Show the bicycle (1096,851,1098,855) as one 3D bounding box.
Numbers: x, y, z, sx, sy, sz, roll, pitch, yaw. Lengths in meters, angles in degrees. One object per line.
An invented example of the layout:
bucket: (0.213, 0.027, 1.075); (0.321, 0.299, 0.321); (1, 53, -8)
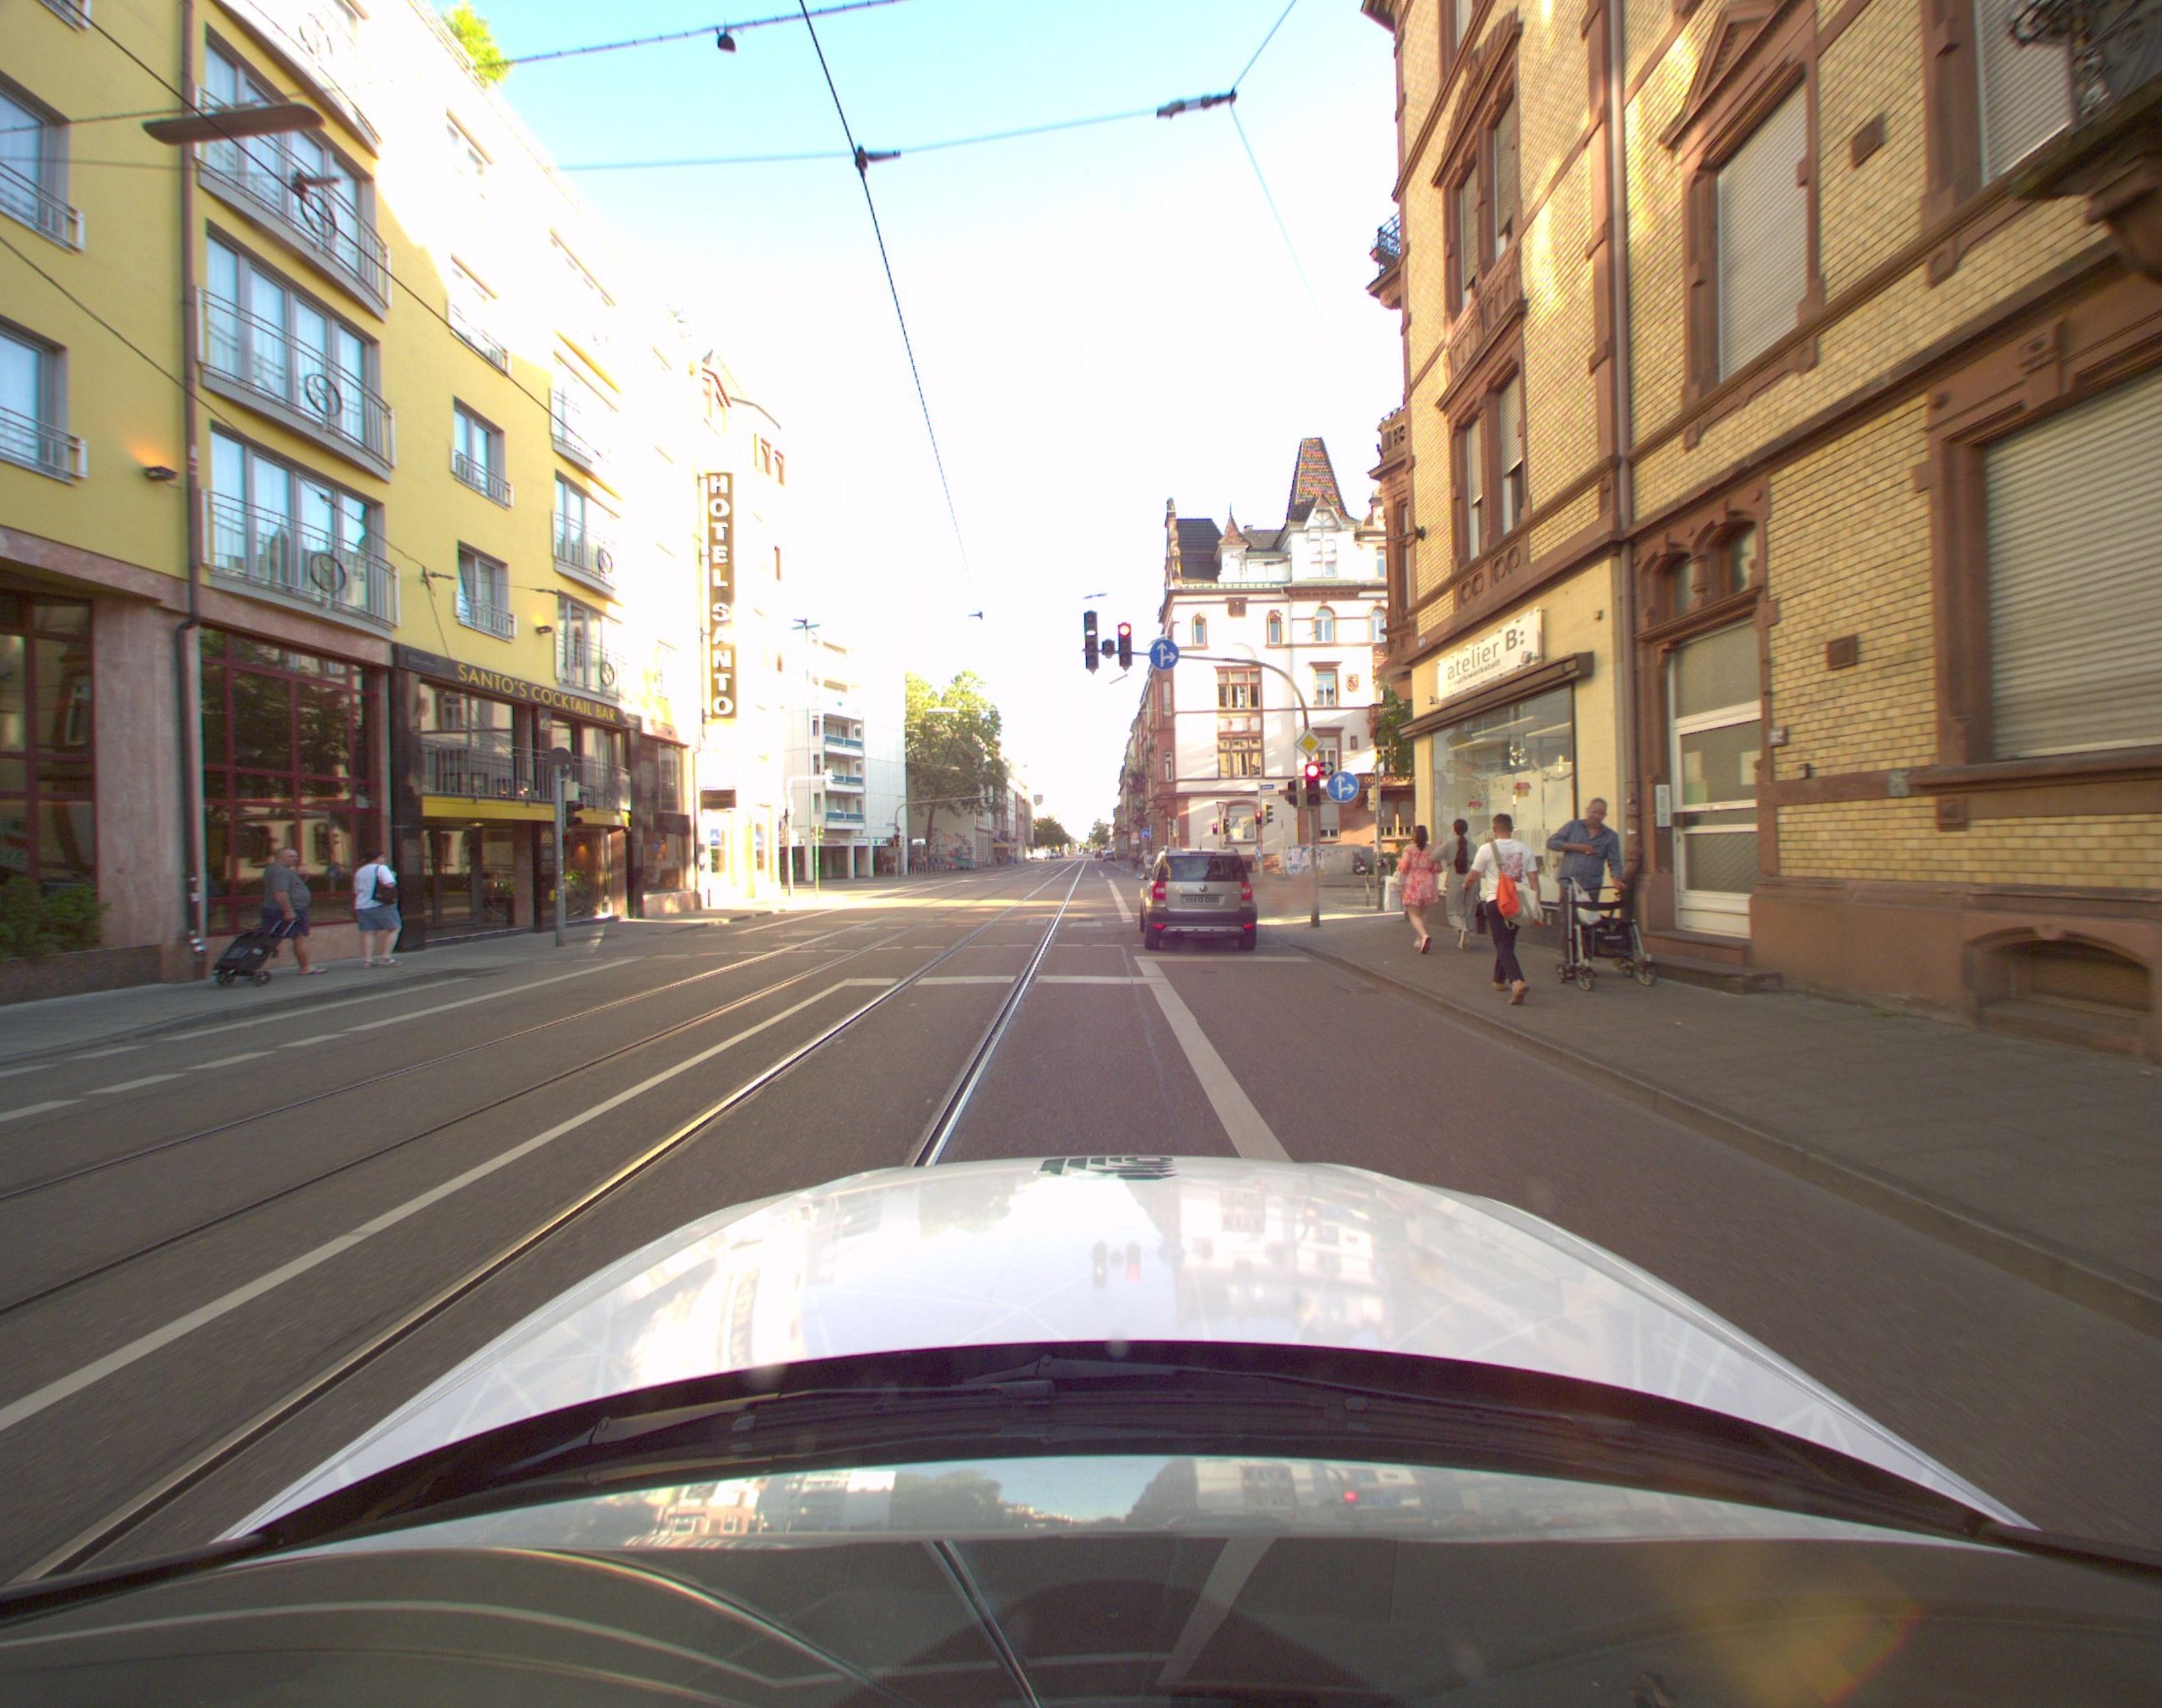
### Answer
bicycle: (3.699, -0.199, 188.204); (0.573, 1.030, 1.896); (-1, 0, 2)

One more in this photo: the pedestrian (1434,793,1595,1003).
pedestrian: (4.095, 0.383, 7.786); (0.803, 1.799, 1.091); (-5, 0, -1)

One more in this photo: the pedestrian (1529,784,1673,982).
pedestrian: (5.135, 0.270, 8.095); (0.803, 1.799, 0.761); (-5, 0, 0)

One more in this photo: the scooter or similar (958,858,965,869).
scooter or similar: (-12.267, 0.975, 83.380); (0.515, 1.045, 1.477); (-1, 0, -1)

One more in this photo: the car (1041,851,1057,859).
car: (-8.597, 0.204, 217.936); (4.006, 2.013, 1.984); (-1, 0, -24)

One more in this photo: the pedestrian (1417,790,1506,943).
pedestrian: (5.014, 0.157, 10.767); (0.688, 1.908, 0.670); (-5, 0, -1)

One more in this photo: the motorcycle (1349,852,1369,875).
motorcycle: (14.449, 0.483, 42.389); (0.714, 1.020, 2.295); (-1, 2, 12)

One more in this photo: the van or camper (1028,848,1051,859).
van or camper: (-9.308, -0.086, 182.090); (4.664, 2.563, 1.981); (0, -1, -30)

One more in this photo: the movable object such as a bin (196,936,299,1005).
movable object such as a bin: (-10.518, 1.458, 10.304); (0.382, 0.716, 0.841); (3, 1, 2)

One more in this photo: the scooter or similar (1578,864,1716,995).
scooter or similar: (5.150, 0.672, 7.441); (0.802, 1.070, 0.521); (-6, 0, 0)

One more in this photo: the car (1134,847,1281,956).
car: (2.043, 0.714, 14.331); (1.987, 1.618, 4.000); (-1, 0, 0)

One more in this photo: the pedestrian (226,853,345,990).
pedestrian: (-10.859, 0.893, 11.145); (0.795, 1.771, 0.749); (3, 0, 0)

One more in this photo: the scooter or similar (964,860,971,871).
scooter or similar: (-11.589, 1.149, 83.414); (0.515, 1.057, 1.477); (-1, 0, -1)

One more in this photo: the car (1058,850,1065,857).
car: (-5.890, -0.109, 244.189); (1.987, 2.013, 3.999); (-1, 0, 0)

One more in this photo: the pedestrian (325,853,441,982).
pedestrian: (-10.517, 0.923, 12.318); (0.749, 1.818, 1.046); (3, 0, 1)

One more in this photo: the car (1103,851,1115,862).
car: (4.553, 0.399, 132.248); (1.942, 1.684, 4.002); (-1, 0, 2)

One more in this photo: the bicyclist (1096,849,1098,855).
bicyclist: (3.685, -0.536, 188.202); (0.573, 1.452, 0.645); (-1, 0, 2)

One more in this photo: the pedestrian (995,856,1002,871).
pedestrian: (-9.389, 1.051, 93.180); (0.699, 1.728, 0.648); (-1, 0, 0)

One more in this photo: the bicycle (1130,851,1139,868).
bicycle: (4.113, 0.408, 62.825); (0.650, 1.323, 2.178); (-1, 0, 3)

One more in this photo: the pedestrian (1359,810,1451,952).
pedestrian: (4.406, 0.355, 11.121); (0.803, 1.799, 0.761); (-5, 0, -1)

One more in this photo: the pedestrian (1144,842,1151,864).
pedestrian: (5.424, -0.051, 66.257); (0.542, 1.780, 0.504); (-1, 0, 1)

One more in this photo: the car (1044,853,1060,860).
car: (-8.346, 0.734, 231.518); (4.006, 2.013, 1.984); (-1, 0, -24)
